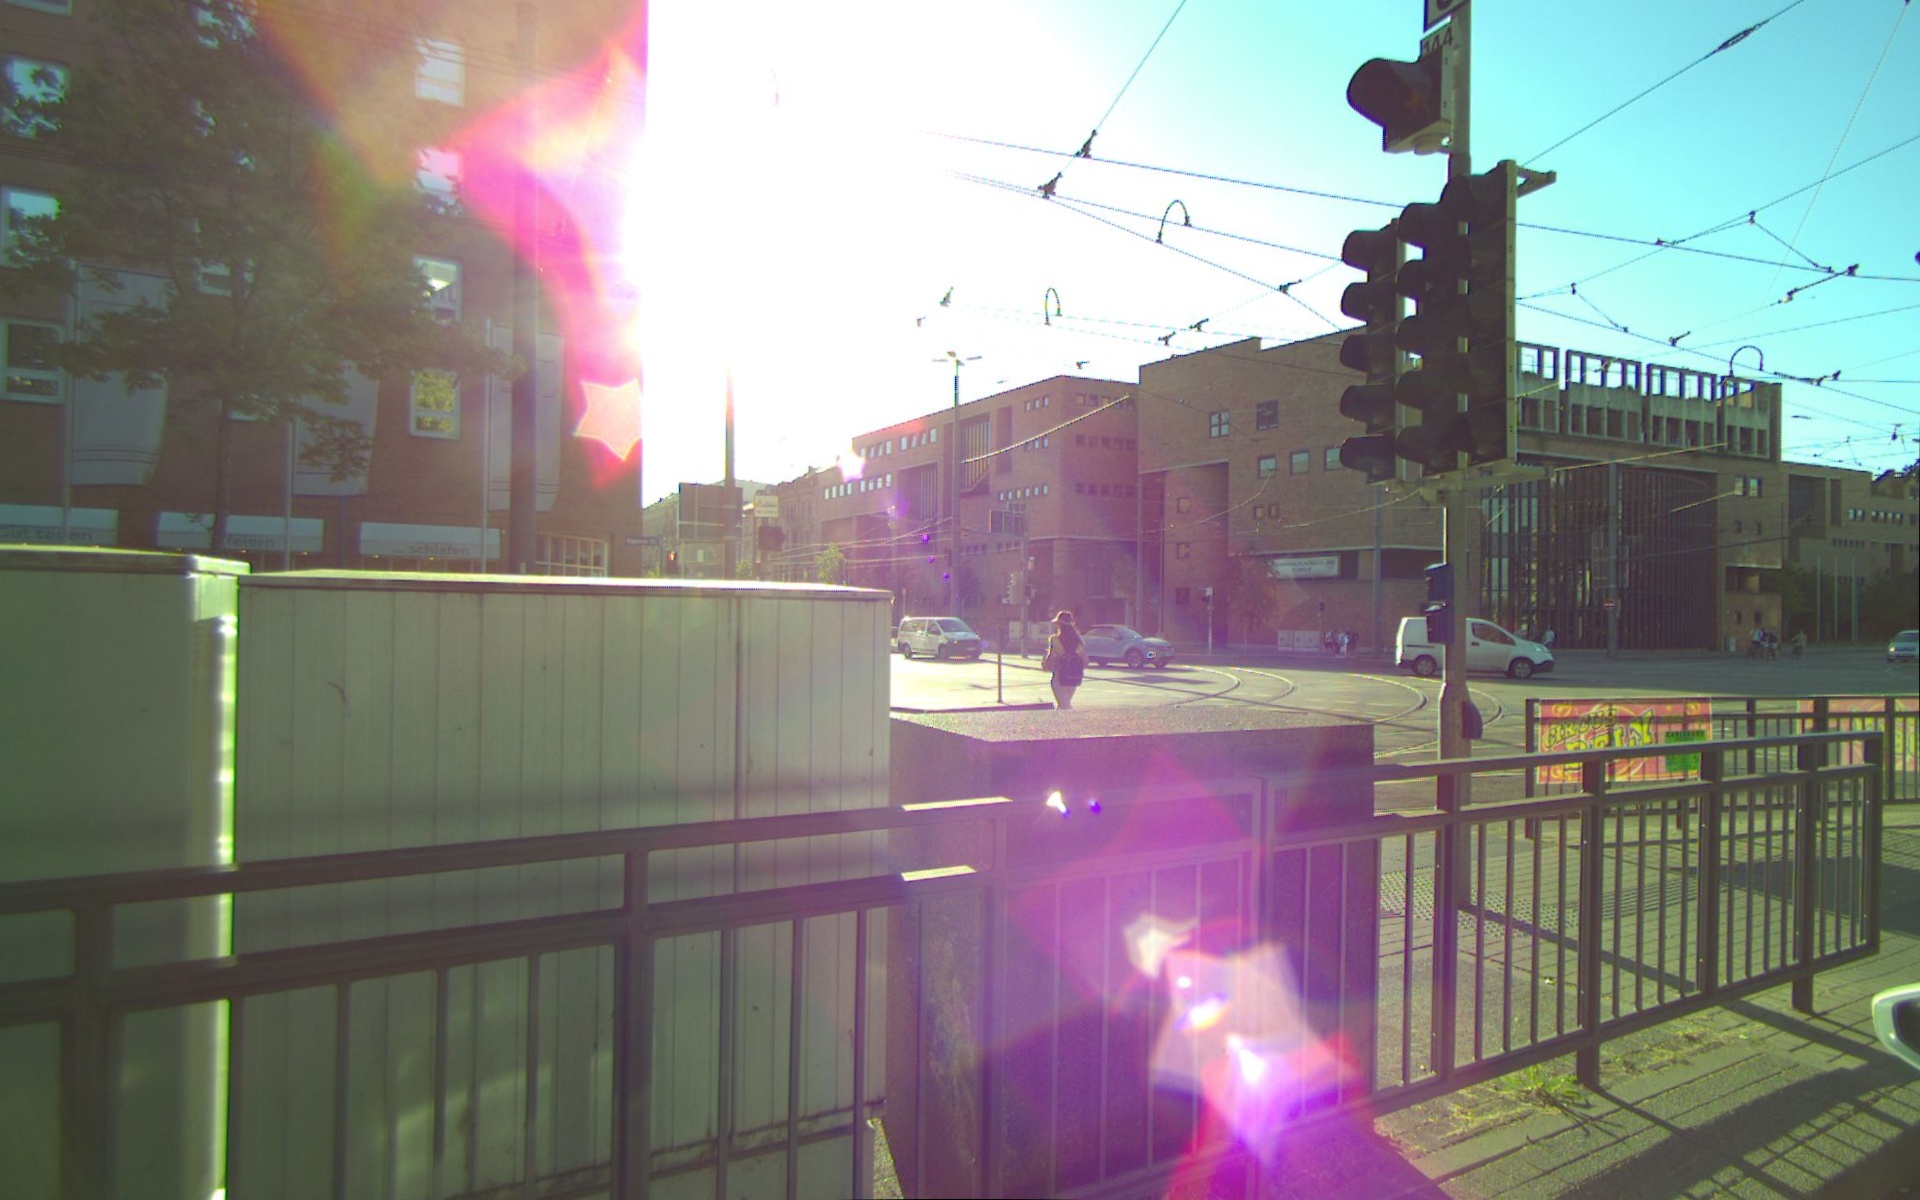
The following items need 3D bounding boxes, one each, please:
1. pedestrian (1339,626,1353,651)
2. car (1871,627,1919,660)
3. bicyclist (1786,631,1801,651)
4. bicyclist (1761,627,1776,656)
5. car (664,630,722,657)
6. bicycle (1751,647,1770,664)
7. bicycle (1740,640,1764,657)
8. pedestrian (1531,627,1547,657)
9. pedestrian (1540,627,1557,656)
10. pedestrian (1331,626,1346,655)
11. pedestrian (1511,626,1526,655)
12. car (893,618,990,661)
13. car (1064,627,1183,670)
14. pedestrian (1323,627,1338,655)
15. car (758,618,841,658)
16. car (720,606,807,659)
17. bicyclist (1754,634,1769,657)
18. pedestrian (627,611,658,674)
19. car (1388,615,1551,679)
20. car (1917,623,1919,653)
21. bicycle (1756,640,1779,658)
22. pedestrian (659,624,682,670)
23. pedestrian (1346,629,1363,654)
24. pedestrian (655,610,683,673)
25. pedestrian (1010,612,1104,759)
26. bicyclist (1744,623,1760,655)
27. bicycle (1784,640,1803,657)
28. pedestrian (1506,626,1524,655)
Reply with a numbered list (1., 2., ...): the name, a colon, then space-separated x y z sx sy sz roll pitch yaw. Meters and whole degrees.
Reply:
1. pedestrian: 22.572 2.232 58.674 0.611 1.473 0.562 2 -2 -45
2. car: 48.996 2.226 51.787 3.954 1.661 1.984 1 -2 -31
3. bicyclist: 49.437 2.424 59.565 0.574 1.194 0.503 1 -1 -30
4. bicyclist: 44.982 2.309 55.876 0.574 1.624 0.456 1 -1 -30
5. car: -14.384 2.297 54.044 1.729 1.372 3.960 1 -2 -36
6. bicycle: 46.597 3.243 58.464 1.304 0.976 0.465 1 -1 -30
7. bicycle: 44.447 2.709 56.366 1.568 0.976 0.539 1 -1 -30
8. pedestrian: 33.285 2.397 57.722 0.543 1.706 0.588 1 -1 -25
9. pedestrian: 34.458 2.436 58.814 0.608 1.647 0.611 1 -1 -15
10. pedestrian: 21.709 2.330 57.558 0.543 1.670 0.596 1 -1 -30
11. pedestrian: 33.558 2.411 60.309 0.541 1.706 0.571 1 -1 -21
12. car: -0.937 1.770 46.200 1.946 1.873 5.281 1 -2 -33
13. car: 5.894 1.721 36.431 4.045 1.445 1.624 -1 -2 43
14. pedestrian: 21.584 2.381 58.548 0.582 1.635 0.593 1 -1 -31
15. car: -8.330 1.911 51.711 1.982 1.928 5.156 1 -2 -38
16. car: -9.464 1.521 47.990 1.982 2.419 5.156 1 -2 -38
17. bicyclist: 46.665 2.656 58.493 0.574 1.321 0.503 1 -1 -30
18. pedestrian: -9.441 1.262 29.884 0.713 1.837 0.904 1 -1 -28
19. car: 15.980 1.447 31.776 4.437 1.891 1.761 0 -1 21
20. car: 55.265 2.113 55.901 3.954 1.661 1.984 1 -2 -31
21. bicycle: 44.916 2.707 55.841 1.557 0.976 0.470 1 -1 -30
22. pedestrian: -10.566 1.697 36.656 0.658 1.669 0.638 1 -1 -34
23. pedestrian: 22.268 2.342 56.710 0.670 1.357 0.603 1 -1 -14
24. pedestrian: -8.784 1.239 30.338 0.647 1.864 0.835 1 -1 -28
25. pedestrian: 1.152 0.988 12.025 0.709 1.669 0.953 1 -1 -30
26. bicyclist: 44.461 2.176 56.383 0.574 1.754 0.534 1 -1 -30
27. bicycle: 49.462 2.887 59.610 1.332 0.976 0.449 1 -1 -30
28. pedestrian: 32.276 2.349 58.433 0.613 1.706 0.647 1 -1 -23
